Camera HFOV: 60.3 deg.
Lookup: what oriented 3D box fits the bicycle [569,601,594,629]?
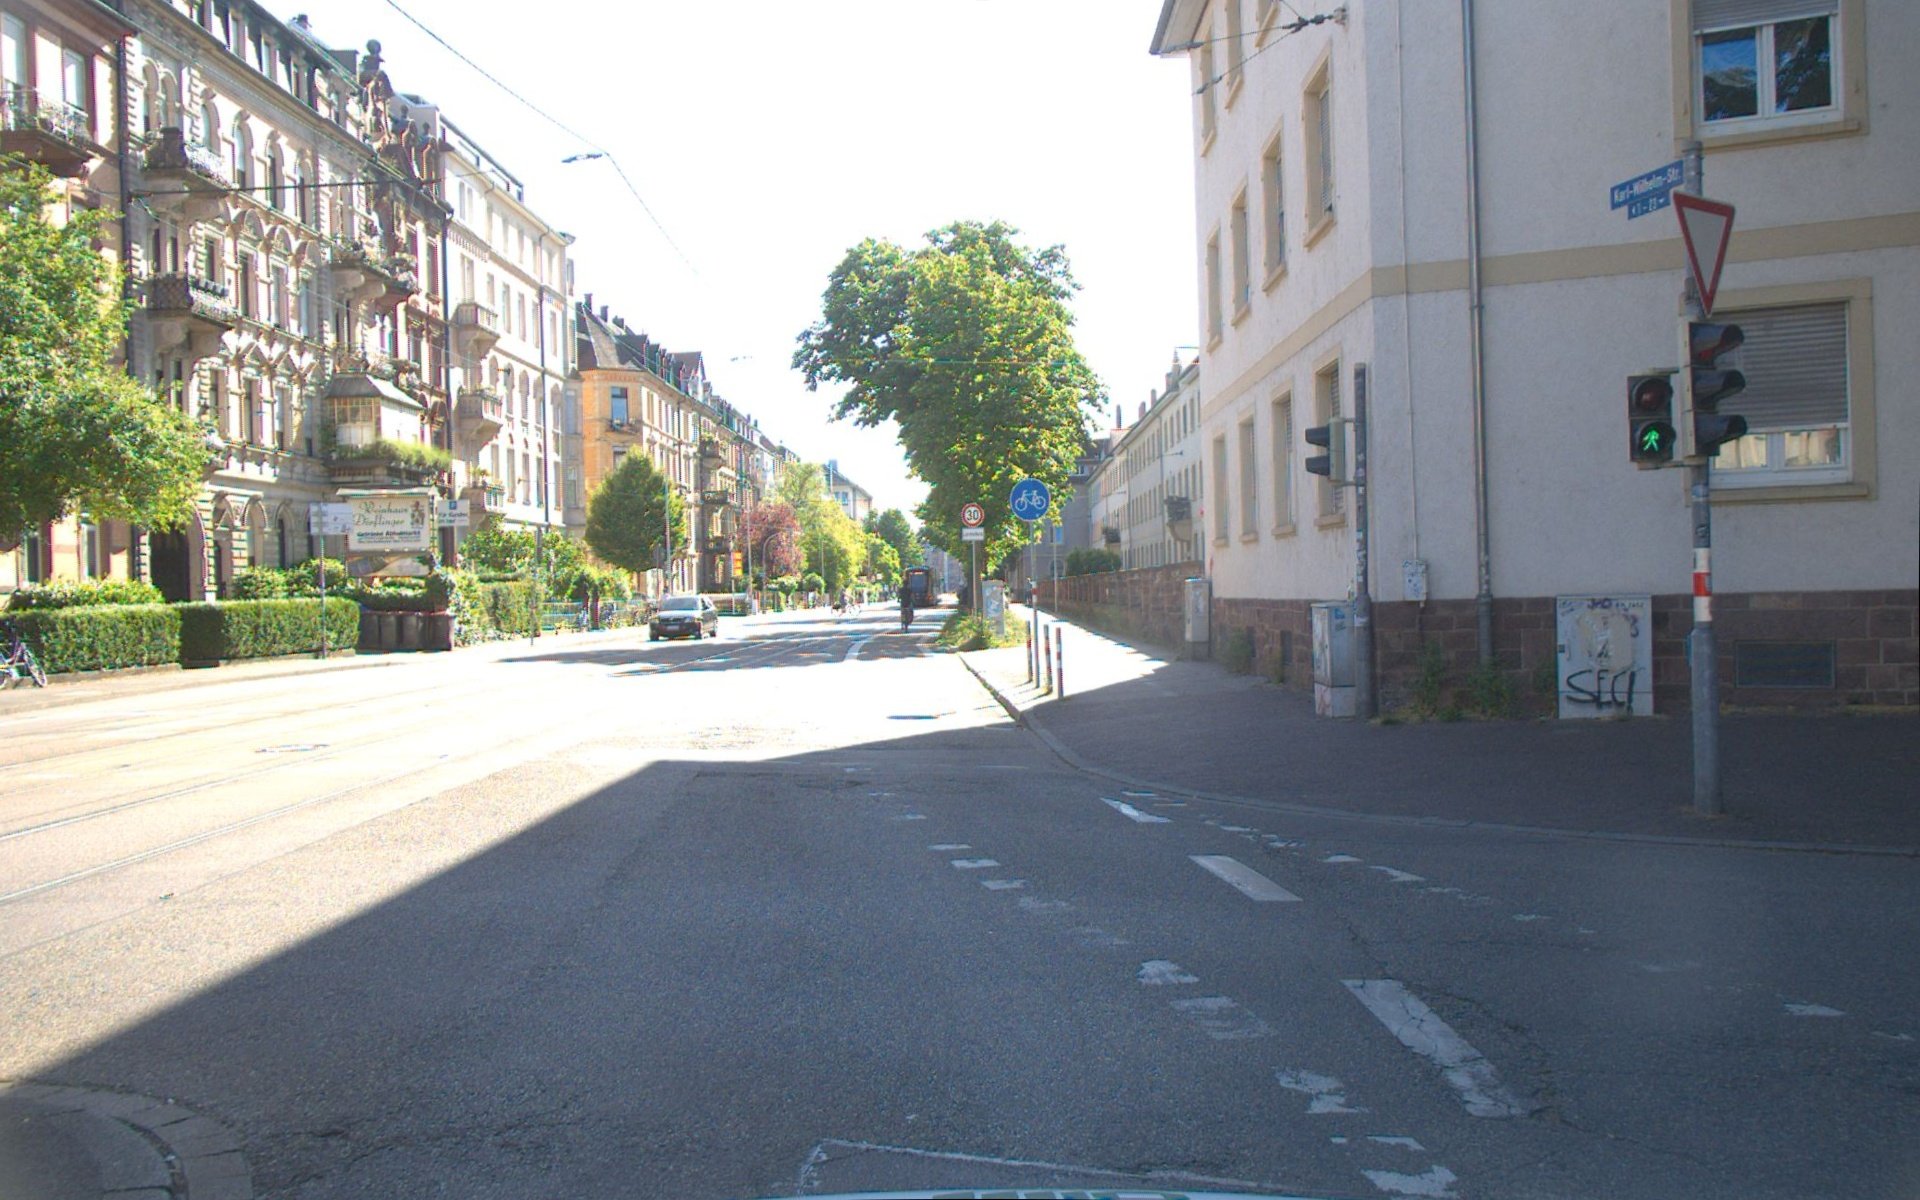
[{"bbox_3d":[-14.868,0.577,64.981,0.551,1.051,1.768,0,2,1],"label":"bicycle"}]

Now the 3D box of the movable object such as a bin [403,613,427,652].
[{"bbox_3d":[-15.609,0.927,47.384,0.469,1.105,0.541,0,0,2],"label":"movable object such as a bin"}]

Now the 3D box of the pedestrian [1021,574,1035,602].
[{"bbox_3d":[4.321,-0.774,105.295,0.748,1.754,0.579,0,0,30],"label":"pedestrian"}]

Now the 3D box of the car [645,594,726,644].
[{"bbox_3d":[-9.236,0.599,55.978,1.794,1.544,4.968,1,1,1],"label":"car"}]

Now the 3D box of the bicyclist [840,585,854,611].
[{"bbox_3d":[-6.533,-0.129,95.805,0.606,1.494,0.632,0,0,-27],"label":"bicyclist"}]

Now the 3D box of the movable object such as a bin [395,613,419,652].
[{"bbox_3d":[-15.622,0.915,46.759,0.469,1.105,0.541,0,0,2],"label":"movable object such as a bin"}]

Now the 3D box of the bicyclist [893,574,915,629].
[{"bbox_3d":[-1.943,0.060,57.112,0.712,1.880,0.837,0,0,0],"label":"bicyclist"}]

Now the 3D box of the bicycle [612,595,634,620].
[{"bbox_3d":[-15.074,0.340,73.932,0.555,1.051,1.755,2,1,-24],"label":"bicycle"}]

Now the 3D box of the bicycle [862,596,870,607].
[{"bbox_3d":[-10.139,0.134,178.817,0.677,1.132,1.719,-3,0,1],"label":"bicycle"}]

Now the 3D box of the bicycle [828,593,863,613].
[{"bbox_3d":[-6.617,0.194,95.723,1.886,1.132,0.688,-1,0,-25],"label":"bicycle"}]

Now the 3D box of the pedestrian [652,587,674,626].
[{"bbox_3d":[-13.510,0.290,75.233,0.812,1.754,1.082,0,-1,-1],"label":"pedestrian"}]

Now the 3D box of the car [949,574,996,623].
[{"bbox_3d":[0.458,-0.078,62.414,1.708,1.797,4.478,0,1,0],"label":"car"}]

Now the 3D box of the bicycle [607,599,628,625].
[{"bbox_3d":[-14.707,0.505,71.094,0.551,1.051,1.767,0,1,0],"label":"bicycle"}]

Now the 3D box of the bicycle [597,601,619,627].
[{"bbox_3d":[-14.686,0.570,69.066,0.551,1.051,1.767,0,1,0],"label":"bicycle"}]

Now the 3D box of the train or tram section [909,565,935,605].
[{"bbox_3d":[-3.331,-1.310,147.133,2.109,3.491,6.611,0,1,0],"label":"train or tram section"}]

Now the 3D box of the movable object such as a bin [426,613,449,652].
[{"bbox_3d":[-15.014,0.922,47.518,0.469,1.105,0.541,0,0,2],"label":"movable object such as a bin"}]

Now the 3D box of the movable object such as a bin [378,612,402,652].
[{"bbox_3d":[-16.119,0.907,46.746,0.469,1.105,0.541,0,0,2],"label":"movable object such as a bin"}]

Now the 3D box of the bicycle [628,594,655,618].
[{"bbox_3d":[-14.782,0.274,76.767,0.558,1.051,1.745,-1,2,-35],"label":"bicycle"}]

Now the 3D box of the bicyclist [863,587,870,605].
[{"bbox_3d":[-10.125,-0.435,178.886,0.647,1.833,0.616,-4,0,1],"label":"bicyclist"}]

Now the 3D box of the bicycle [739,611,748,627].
[{"bbox_3d":[-14.545,1.285,111.203,0.328,1.018,1.870,0,1,1],"label":"bicycle"}]

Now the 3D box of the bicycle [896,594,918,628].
[{"bbox_3d":[-1.814,0.379,56.795,0.677,1.132,1.719,0,1,1],"label":"bicycle"}]

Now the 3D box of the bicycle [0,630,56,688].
[{"bbox_3d":[-16.441,1.017,28.668,0.334,0.942,1.944,0,1,5],"label":"bicycle"}]
